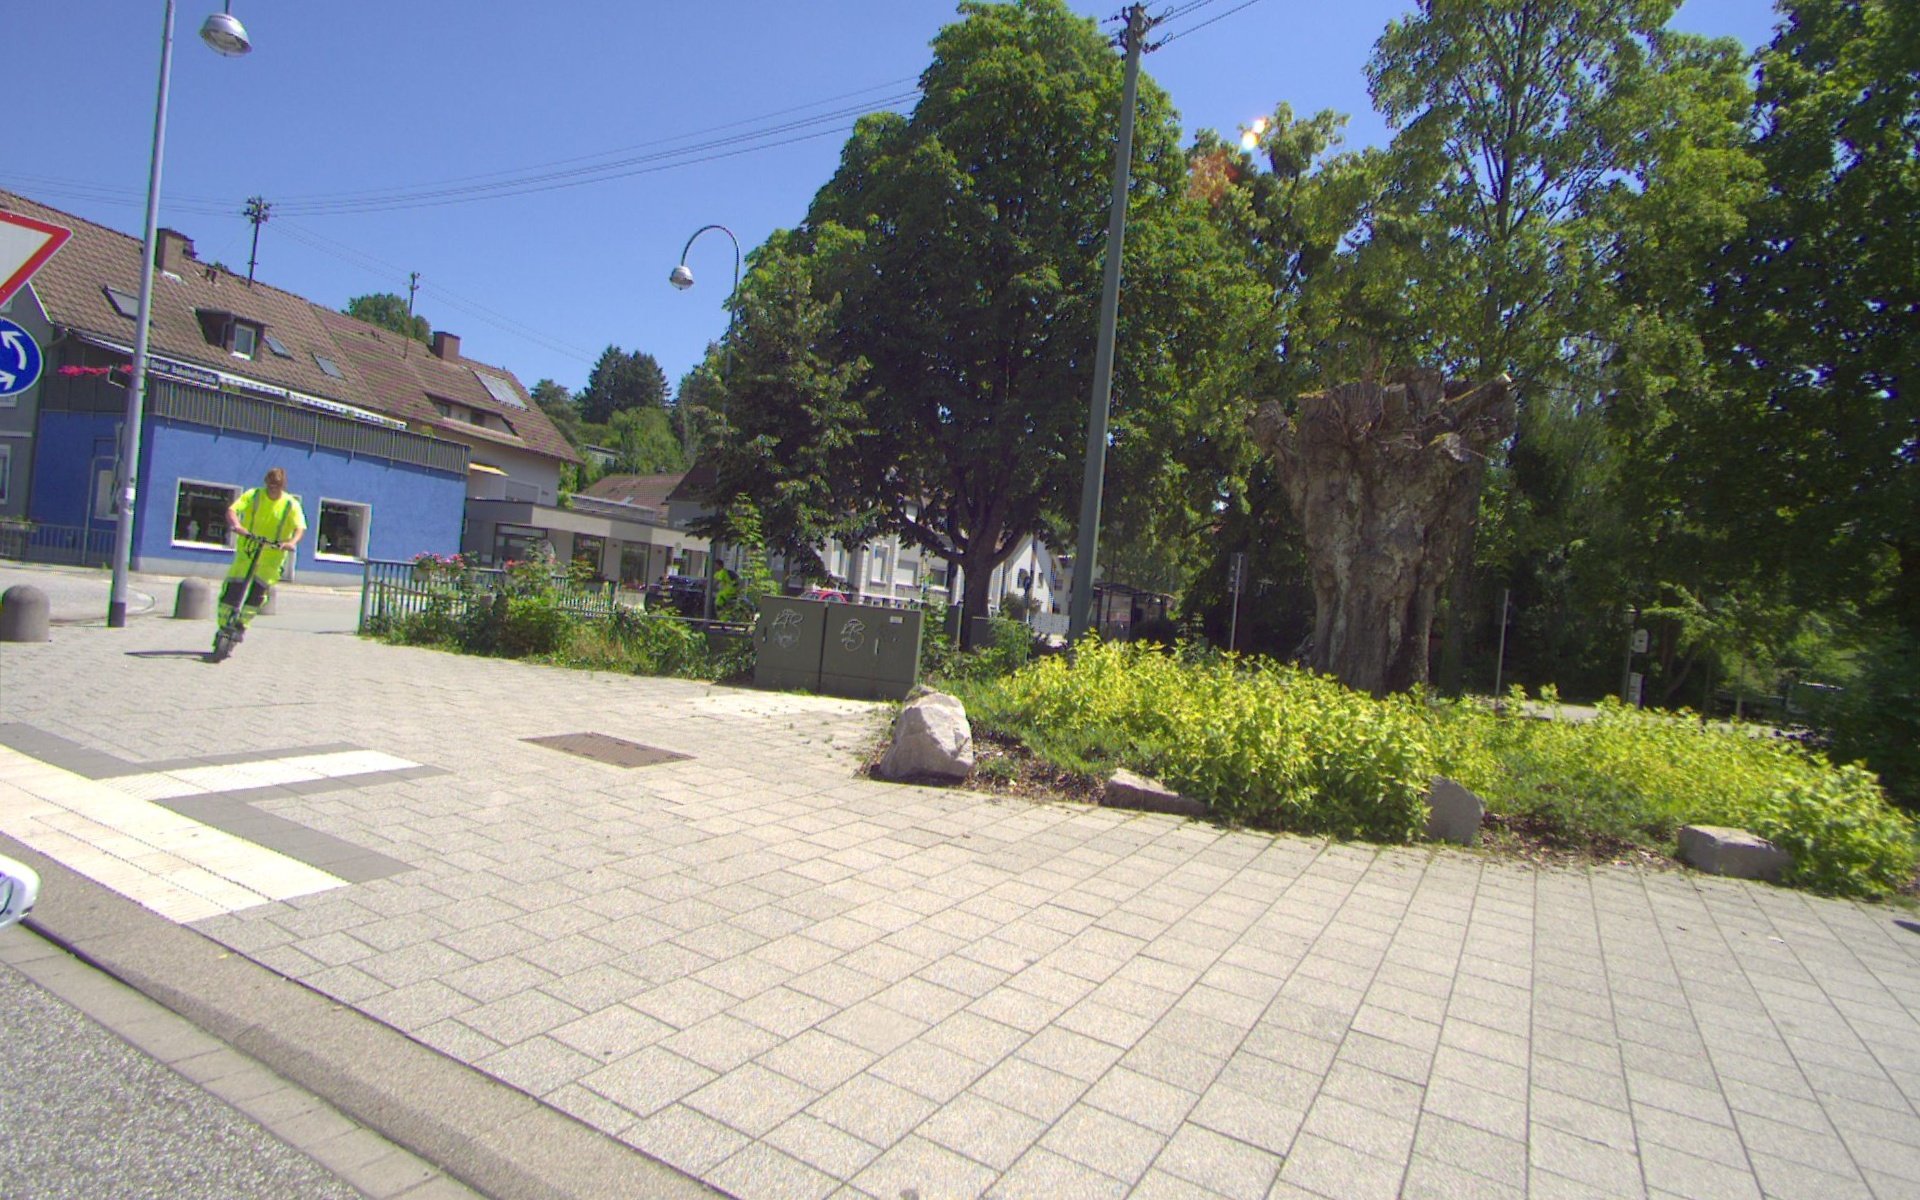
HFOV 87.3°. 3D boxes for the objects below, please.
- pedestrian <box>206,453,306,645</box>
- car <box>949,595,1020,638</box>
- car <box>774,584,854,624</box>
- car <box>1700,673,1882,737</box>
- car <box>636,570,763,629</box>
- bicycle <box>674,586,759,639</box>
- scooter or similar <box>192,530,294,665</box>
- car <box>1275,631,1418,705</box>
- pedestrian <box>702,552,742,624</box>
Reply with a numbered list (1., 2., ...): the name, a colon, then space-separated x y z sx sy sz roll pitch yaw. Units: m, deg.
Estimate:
1. pedestrian: -7.114 -0.506 10.198 0.672 1.824 0.733 4 3 -30
2. car: 1.333 0.879 52.073 1.733 1.898 4.222 6 0 30
3. car: -6.752 0.231 46.931 1.747 1.571 3.672 5 -1 29
4. car: 42.349 5.306 51.531 2.168 2.267 6.716 5 0 -29
5. car: -8.440 0.038 33.002 1.778 1.566 4.261 7 0 20
6. bicycle: -5.870 0.302 24.234 1.824 1.097 0.743 6 0 -23
7. scooter or similar: -7.191 -0.038 10.071 1.224 1.238 0.527 6 1 43
8. car: 9.780 1.673 25.765 1.644 1.472 3.756 5 0 -9
9. pedestrian: -5.751 -0.298 24.279 0.708 1.652 0.743 5 1 -22
